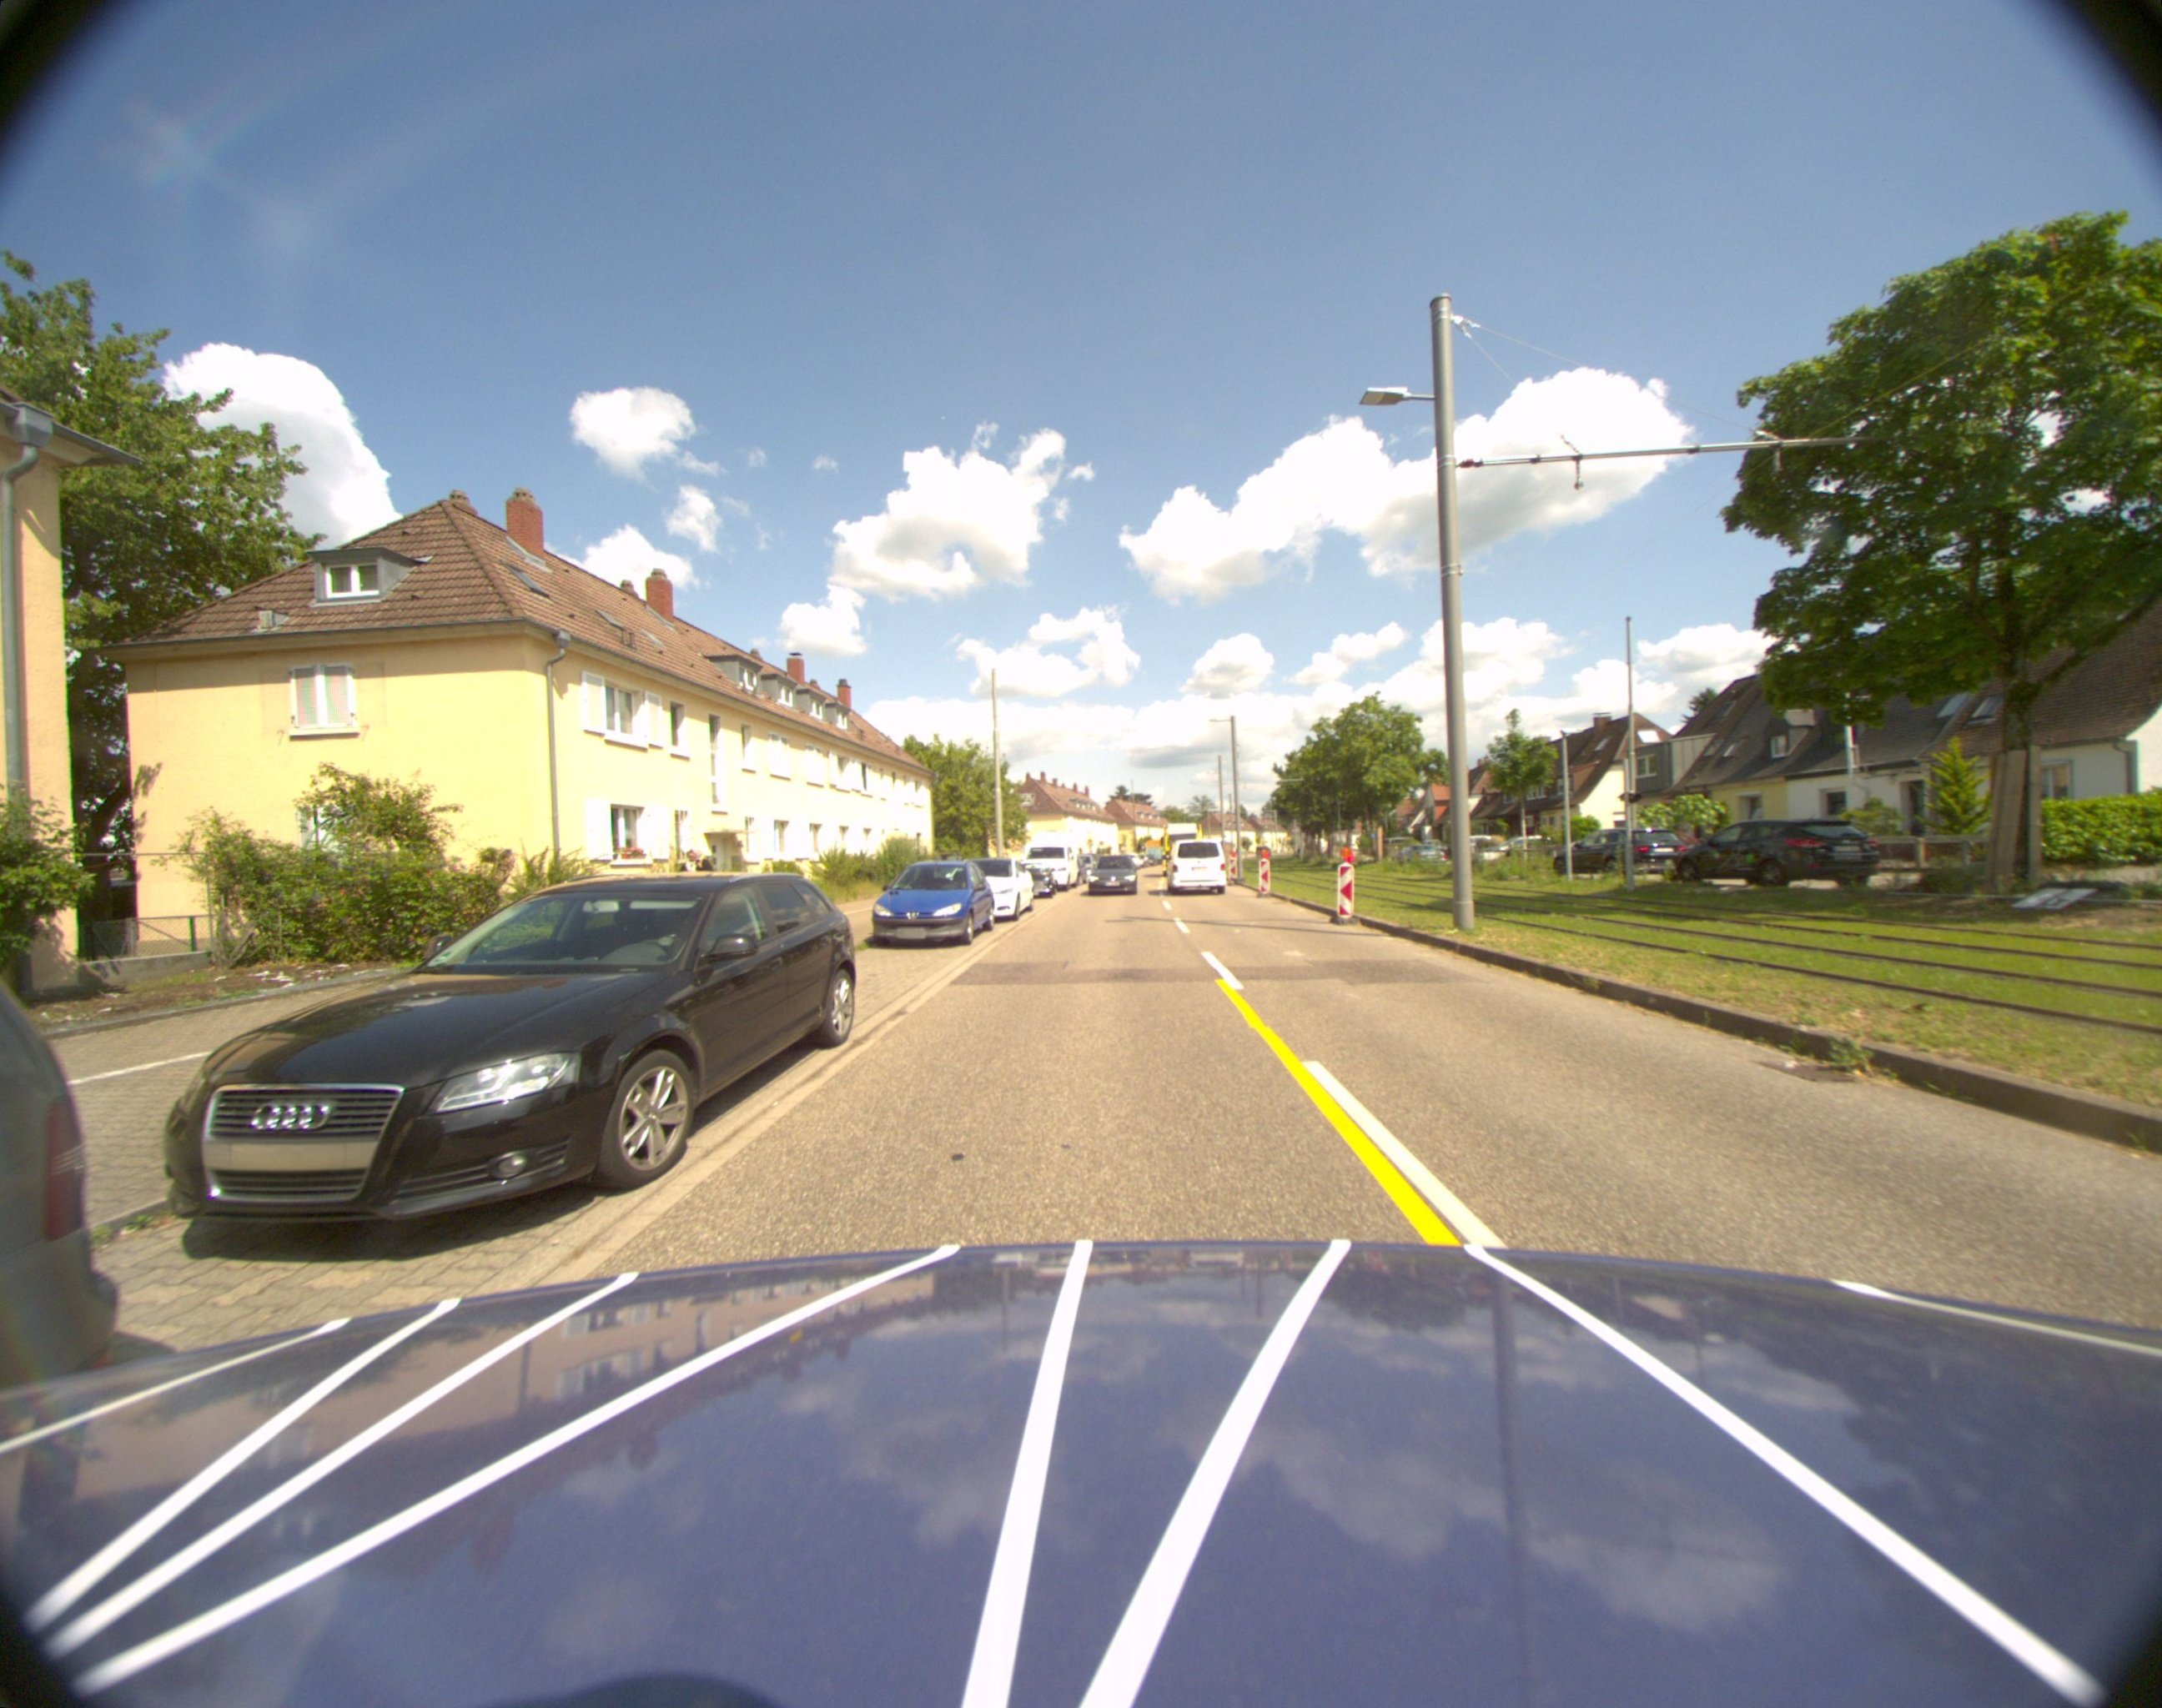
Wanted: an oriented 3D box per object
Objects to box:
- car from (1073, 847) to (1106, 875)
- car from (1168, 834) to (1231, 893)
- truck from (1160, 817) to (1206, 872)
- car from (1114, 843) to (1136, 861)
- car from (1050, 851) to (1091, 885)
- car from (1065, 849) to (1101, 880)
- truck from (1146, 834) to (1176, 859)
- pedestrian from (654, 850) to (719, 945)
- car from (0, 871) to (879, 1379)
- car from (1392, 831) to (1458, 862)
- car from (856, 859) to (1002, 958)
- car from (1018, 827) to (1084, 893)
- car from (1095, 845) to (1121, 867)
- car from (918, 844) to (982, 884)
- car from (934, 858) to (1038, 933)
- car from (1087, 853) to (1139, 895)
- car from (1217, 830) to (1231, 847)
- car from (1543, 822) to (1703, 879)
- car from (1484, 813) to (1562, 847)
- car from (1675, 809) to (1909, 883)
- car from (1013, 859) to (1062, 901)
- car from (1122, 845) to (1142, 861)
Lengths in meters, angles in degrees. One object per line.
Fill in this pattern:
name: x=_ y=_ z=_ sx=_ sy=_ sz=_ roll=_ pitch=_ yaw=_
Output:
car: x=0.520 y=0.391 z=44.781 sx=1.513 sy=1.490 sz=3.408 roll=-2 pitch=1 yaw=7
car: x=4.256 y=0.311 z=27.987 sx=1.944 sy=1.931 sz=4.562 roll=-2 pitch=0 yaw=5
truck: x=6.731 y=-0.628 z=50.869 sx=2.701 sy=3.346 sz=8.053 roll=-2 pitch=1 yaw=7
car: x=4.078 y=-0.186 z=69.295 sx=1.512 sy=1.490 sz=3.576 roll=-2 pitch=1 yaw=11
car: x=-0.475 y=0.632 z=37.244 sx=1.513 sy=1.490 sz=3.544 roll=-2 pitch=1 yaw=7
car: x=0.152 y=0.548 z=41.224 sx=1.513 sy=1.490 sz=3.408 roll=-2 pitch=1 yaw=7
truck: x=10.260 y=-1.061 z=96.729 sx=2.529 sy=2.931 sz=7.868 roll=-2 pitch=1 yaw=15
pedestrian: x=-7.092 y=0.754 z=13.702 sx=0.617 sy=1.629 sz=0.900 roll=-2 pitch=2 yaw=2
car: x=-2.796 y=0.954 z=4.739 sx=1.689 sy=1.429 sz=4.515 roll=-2 pitch=2 yaw=2
car: x=18.963 y=-0.442 z=42.109 sx=1.998 sy=1.531 sz=4.323 roll=-2 pitch=1 yaw=5
car: x=-2.610 y=0.879 z=13.980 sx=1.701 sy=1.421 sz=3.898 roll=-1 pitch=1 yaw=3
car: x=-1.156 y=0.212 z=32.181 sx=1.923 sy=2.522 sz=5.346 roll=-2 pitch=1 yaw=6
car: x=2.043 y=0.138 z=56.610 sx=1.513 sy=1.490 sz=3.408 roll=-2 pitch=1 yaw=7
car: x=-6.111 y=0.444 z=35.986 sx=1.926 sy=1.736 sz=4.048 roll=-2 pitch=0 yaw=5
car: x=-2.177 y=0.902 z=18.651 sx=1.756 sy=1.480 sz=4.627 roll=-2 pitch=1 yaw=2
car: x=1.238 y=0.702 z=28.809 sx=1.786 sy=1.412 sz=4.290 roll=-2 pitch=0 yaw=3
car: x=21.770 y=-2.379 z=115.586 sx=1.694 sy=2.418 sz=3.578 roll=-2 pitch=1 yaw=17
car: x=16.644 y=-0.149 z=23.648 sx=1.998 sy=1.531 sz=4.322 roll=-2 pitch=1 yaw=3
car: x=29.405 y=-1.586 z=50.615 sx=3.995 sy=2.002 sz=2.001 roll=-2 pitch=1 yaw=7
car: x=16.792 y=-0.145 z=18.284 sx=1.910 sy=1.569 sz=4.102 roll=0 pitch=0 yaw=3
car: x=-1.516 y=0.889 z=27.421 sx=1.358 sy=1.299 sz=3.543 roll=-2 pitch=1 yaw=3
car: x=4.988 y=-0.102 z=73.604 sx=1.512 sy=1.490 sz=3.576 roll=-2 pitch=1 yaw=11
